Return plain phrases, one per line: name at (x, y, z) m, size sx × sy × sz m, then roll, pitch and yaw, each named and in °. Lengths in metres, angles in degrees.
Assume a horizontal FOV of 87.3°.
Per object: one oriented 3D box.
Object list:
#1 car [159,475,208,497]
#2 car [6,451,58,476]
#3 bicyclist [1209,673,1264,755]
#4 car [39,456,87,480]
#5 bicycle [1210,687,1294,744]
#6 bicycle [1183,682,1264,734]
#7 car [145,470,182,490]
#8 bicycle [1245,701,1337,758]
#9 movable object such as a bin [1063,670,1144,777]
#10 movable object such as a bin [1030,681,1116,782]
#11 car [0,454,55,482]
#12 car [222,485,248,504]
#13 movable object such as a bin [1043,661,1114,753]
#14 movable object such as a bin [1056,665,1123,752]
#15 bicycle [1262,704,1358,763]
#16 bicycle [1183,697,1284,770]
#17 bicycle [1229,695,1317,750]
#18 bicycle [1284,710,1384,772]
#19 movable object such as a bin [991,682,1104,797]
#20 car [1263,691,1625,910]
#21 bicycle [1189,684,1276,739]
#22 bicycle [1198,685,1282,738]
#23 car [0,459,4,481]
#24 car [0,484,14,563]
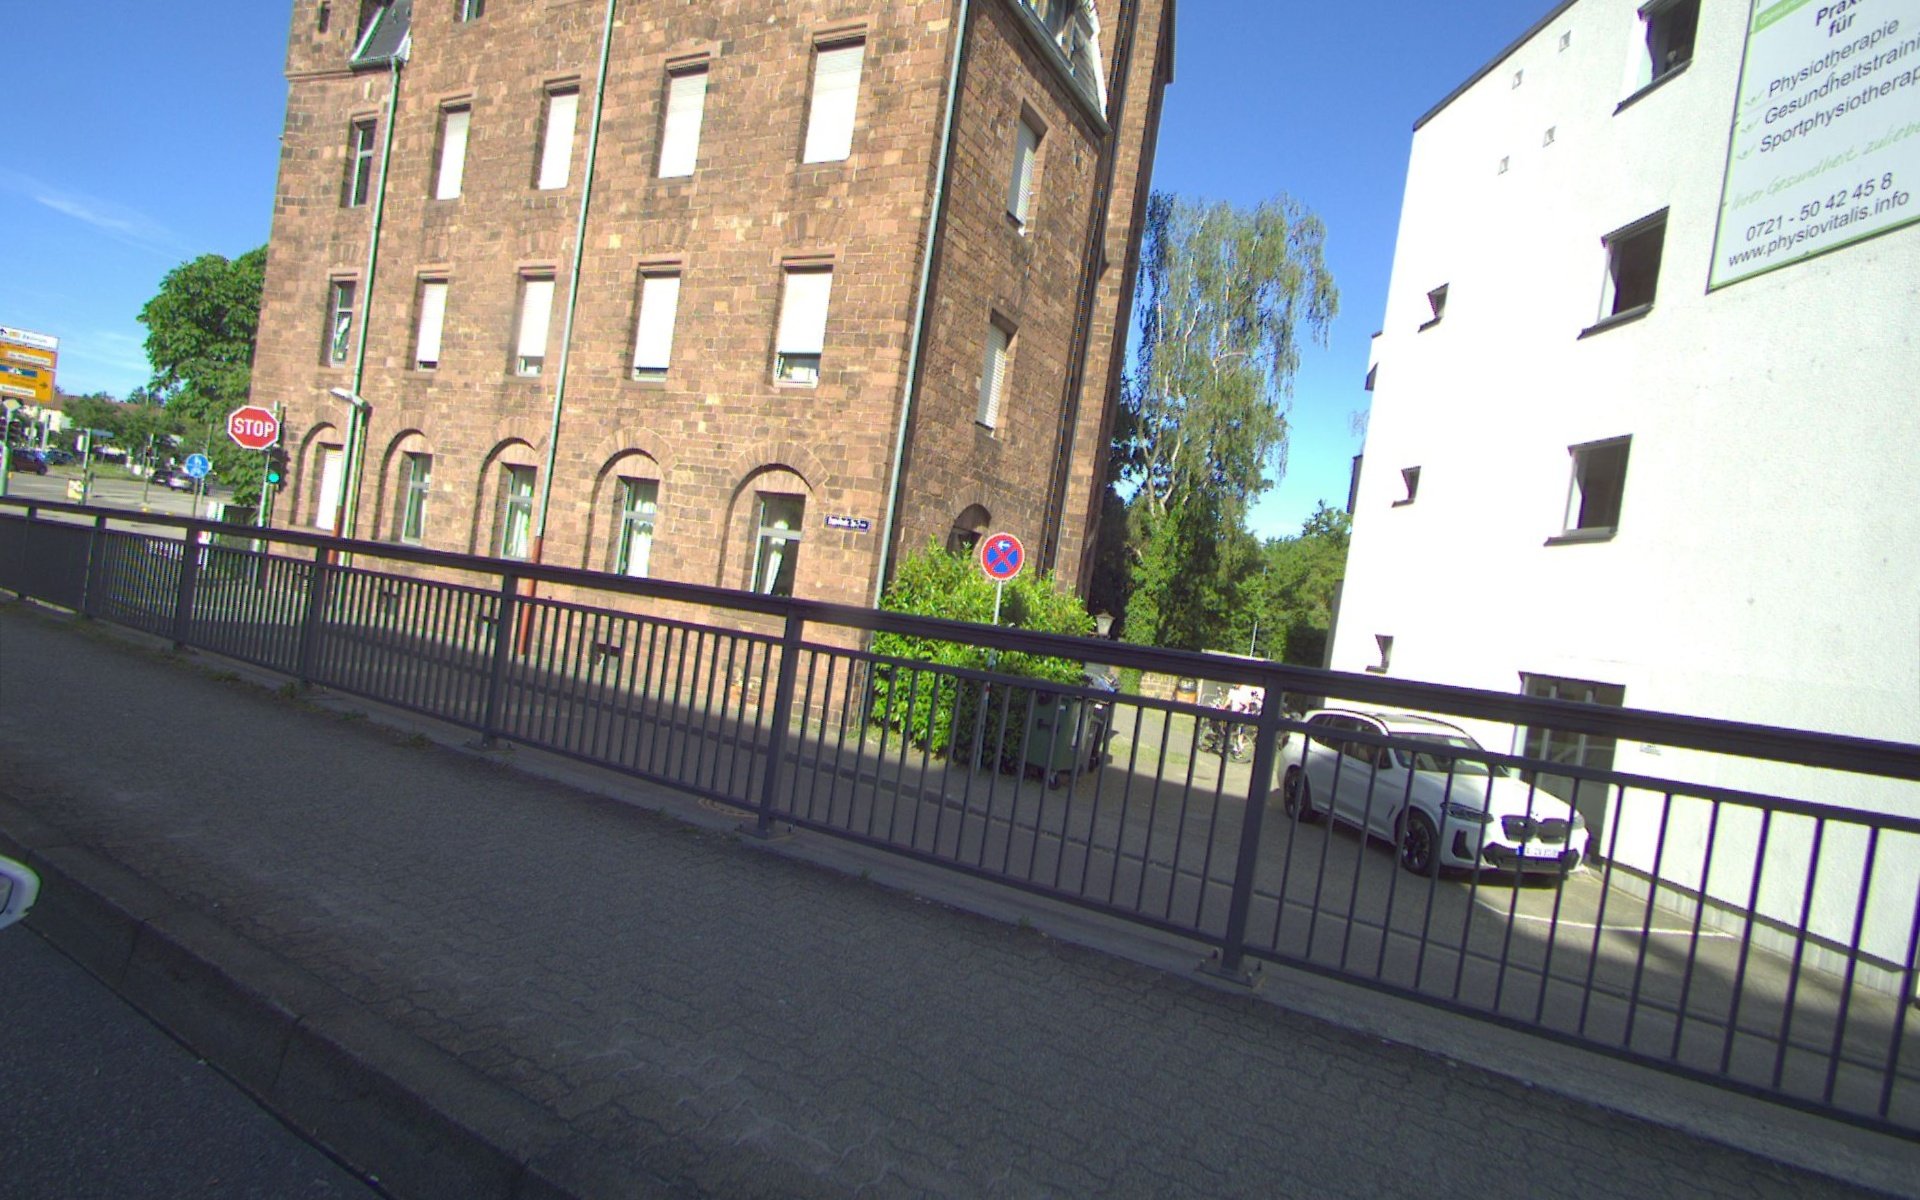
car at (-67.158, -9.838, 87.120) m, size 1.974 × 1.459 × 4.794 m, roll 8°, pitch 2°, yaw -22°
car at (-79.893, -11.735, 86.654) m, size 1.860 × 1.598 × 3.978 m, roll 8°, pitch 1°, yaw -22°
bicyclist at (5.951, 2.461, 21.654) m, size 0.684 × 1.627 × 0.688 m, roll 9°, pitch 0°, yaw -44°
car at (-82.312, -12.098, 92.356) m, size 1.860 × 1.598 × 3.978 m, roll 8°, pitch 1°, yaw -22°
bicycle at (7.665, 3.027, 26.450) m, size 1.889 × 1.174 × 0.664 m, roll 8°, pitch 1°, yaw -6°
bicycle at (7.662, 3.137, 29.268) m, size 2.075 × 1.174 × 0.664 m, roll 8°, pitch 1°, yaw -9°
car at (-73.644, -11.082, 93.082) m, size 1.766 × 1.375 × 4.048 m, roll 8°, pitch 2°, yaw -26°
bicycle at (7.972, 3.115, 24.255) m, size 1.889 × 1.065 × 0.664 m, roll 8°, pitch 1°, yaw -6°
movable object such as a bin at (2.398, 2.016, 16.665) m, size 1.009 × 1.539 × 1.007 m, roll 10°, pitch 0°, yaw 14°
movable object such as a bin at (1.758, 1.998, 15.484) m, size 1.009 × 1.307 × 1.007 m, roll 10°, pitch 0°, yaw 14°
car at (-66.853, -9.405, 71.180) m, size 1.967 × 1.474 × 4.540 m, roll 8°, pitch 1°, yaw -10°
car at (-74.800, -10.876, 103.748) m, size 1.984 × 1.459 × 4.248 m, roll 7°, pitch 2°, yaw -37°
movable object such as a bin at (2.283, 2.017, 19.272) m, size 1.009 × 1.539 × 1.007 m, roll 10°, pitch 0°, yaw 14°
movable object such as a bin at (2.643, 2.183, 20.461) m, size 1.009 × 1.539 × 1.007 m, roll 10°, pitch 0°, yaw 14°
bicycle at (8.127, 3.095, 23.367) m, size 1.889 × 1.065 × 0.664 m, roll 8°, pitch 1°, yaw -6°
bicycle at (5.710, 2.771, 21.069) m, size 1.814 × 1.155 × 0.686 m, roll 9°, pitch 2°, yaw 44°
bicycle at (7.867, 3.084, 25.283) m, size 1.889 × 1.065 × 0.664 m, roll 8°, pitch 1°, yaw -6°
bicycle at (8.331, 3.139, 22.453) m, size 1.889 × 1.065 × 0.664 m, roll 8°, pitch 1°, yaw -6°
movable object such as a bin at (1.190, 1.850, 13.522) m, size 1.011 × 1.307 × 1.005 m, roll 10°, pitch 0°, yaw 29°
car at (5.962, 2.403, 13.174) m, size 1.814 × 1.707 × 4.521 m, roll 8°, pitch 0°, yaw -9°
bicycle at (7.404, 3.029, 27.383) m, size 2.075 × 1.174 × 0.664 m, roll 8°, pitch 1°, yaw -9°
bicycle at (7.905, 3.136, 28.415) m, size 2.075 × 1.174 × 0.664 m, roll 8°, pitch 1°, yaw -9°
car at (-61.415, -8.317, 61.024) m, size 1.962 × 1.311 × 4.594 m, roll 9°, pitch 1°, yaw 14°
car at (-21.065, -1.840, 20.114) m, size 3.422 × 1.540 × 1.727 m, roll 10°, pitch 1°, yaw 21°
